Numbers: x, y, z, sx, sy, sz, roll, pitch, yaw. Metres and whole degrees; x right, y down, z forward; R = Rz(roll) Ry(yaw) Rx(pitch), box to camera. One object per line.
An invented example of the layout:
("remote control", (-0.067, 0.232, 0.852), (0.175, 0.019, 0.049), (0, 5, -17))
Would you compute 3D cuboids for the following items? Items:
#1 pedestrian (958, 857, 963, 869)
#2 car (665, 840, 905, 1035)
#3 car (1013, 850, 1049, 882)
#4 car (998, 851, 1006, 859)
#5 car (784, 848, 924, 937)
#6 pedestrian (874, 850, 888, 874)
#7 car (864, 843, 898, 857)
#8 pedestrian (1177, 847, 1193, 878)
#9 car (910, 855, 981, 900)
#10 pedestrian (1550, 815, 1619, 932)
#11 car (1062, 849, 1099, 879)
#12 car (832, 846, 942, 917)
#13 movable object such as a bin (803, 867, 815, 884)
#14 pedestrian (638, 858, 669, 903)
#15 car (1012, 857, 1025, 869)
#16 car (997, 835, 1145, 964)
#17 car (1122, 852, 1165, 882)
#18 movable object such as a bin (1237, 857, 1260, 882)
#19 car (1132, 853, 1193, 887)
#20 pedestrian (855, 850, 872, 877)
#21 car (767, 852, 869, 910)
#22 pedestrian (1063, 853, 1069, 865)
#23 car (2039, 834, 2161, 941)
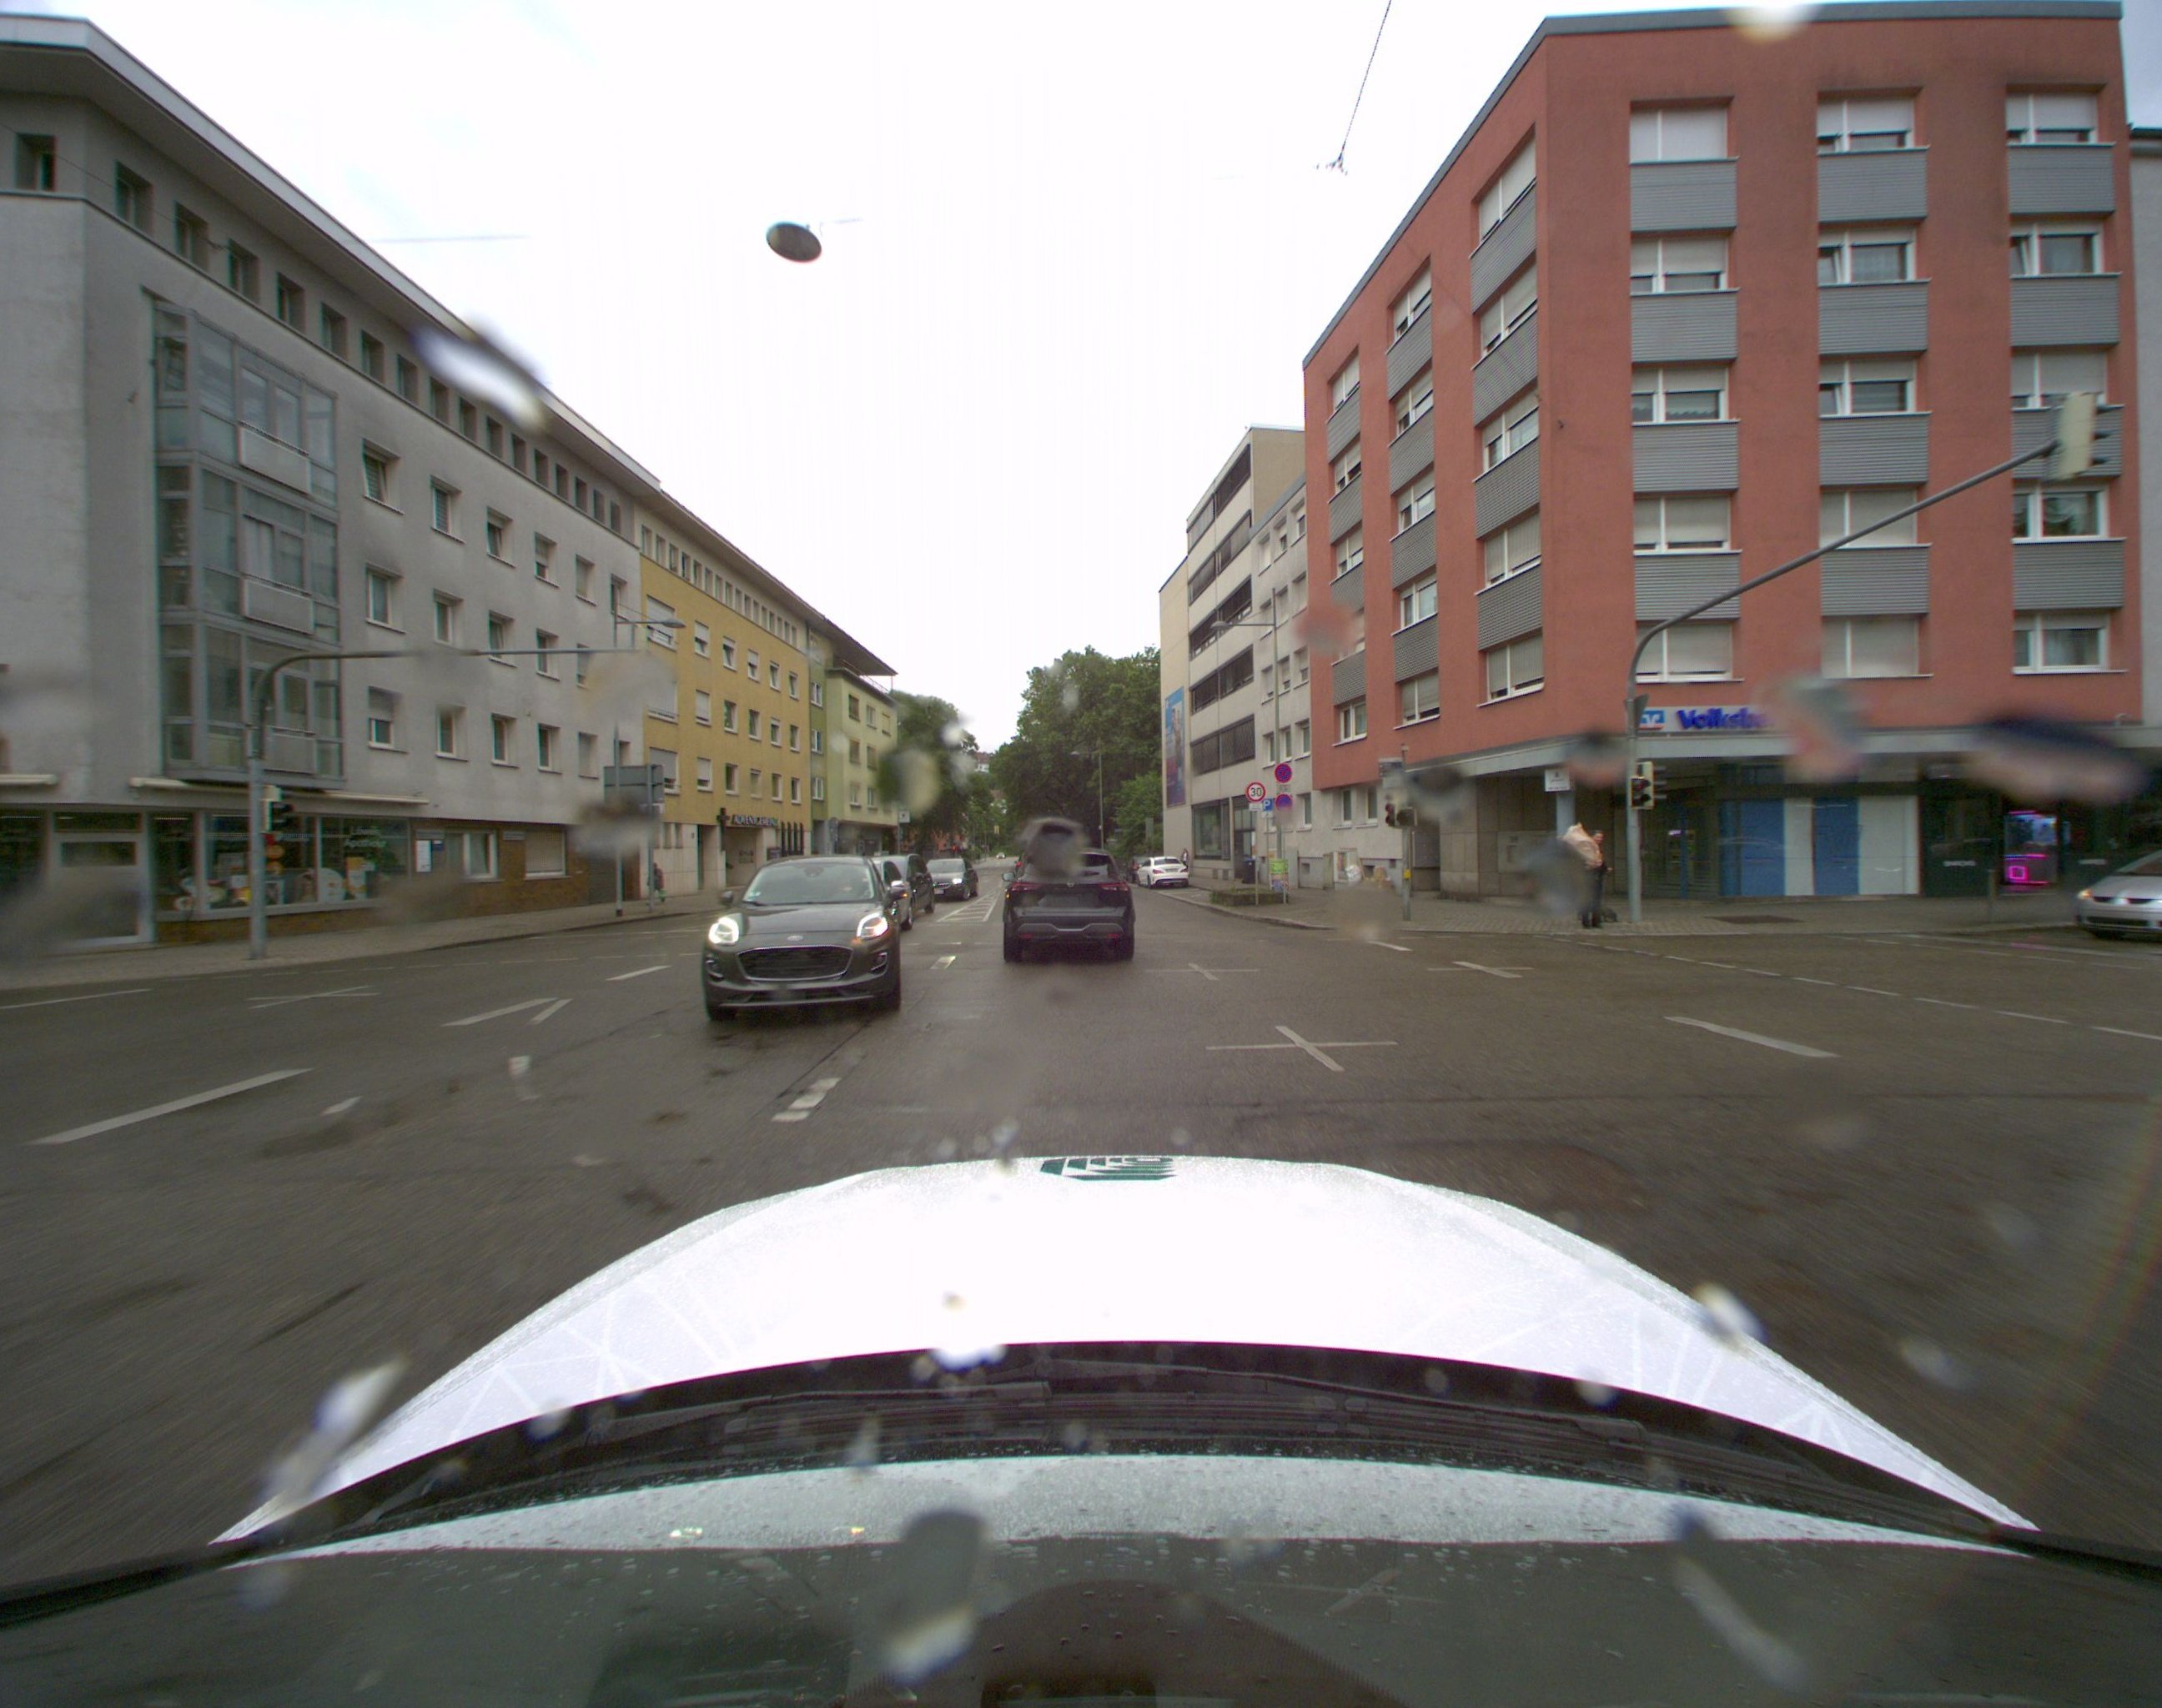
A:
("pedestrian", (-17.551, 1.270, 118.666), (0.667, 1.791, 0.719), (1, 0, -12))
("car", (-2.920, 0.687, 8.958), (1.857, 1.553, 4.209), (-2, 0, -12))
("car", (-2.909, 0.683, 47.354), (1.942, 1.685, 3.995), (-3, -1, -3))
("car", (-18.530, 0.294, 190.980), (1.817, 1.796, 3.861), (1, 0, -3))
("car", (-4.413, 0.728, 16.507), (1.930, 1.527, 4.128), (-1, -1, -4))
("pedestrian", (-14.365, 0.544, 58.458), (0.797, 1.688, 0.816), (-1, 0, -6))
("car", (-25.174, -0.469, 102.557), (3.829, 1.734, 1.875), (1, 0, -7))
("pedestrian", (5.869, 0.484, 46.105), (0.612, 1.737, 0.678), (-3, -1, -12))
("car", (-4.707, 0.812, 28.887), (1.815, 1.433, 4.397), (-1, -1, -1))
("pedestrian", (9.559, 0.357, 15.479), (0.822, 2.158, 0.770), (1, 0, 1))
("car", (-0.081, 0.647, 53.838), (1.943, 1.816, 3.991), (-3, -1, -6))
("car", (-4.908, 0.693, 21.219), (1.815, 1.608, 4.429), (-1, -1, -1))
("movable object such as a bin", (-15.289, 1.196, 45.778), (0.452, 0.929, 0.503), (-1, 0, 2))
("pedestrian", (-15.216, 0.929, 28.994), (0.684, 1.581, 0.652), (1, 0, 2))
("car", (-8.893, 1.253, 116.404), (1.817, 1.612, 3.860), (1, 0, -4))
("car", (-0.279, 0.607, 12.552), (1.891, 1.629, 3.993), (-1, -1, -5))
("car", (3.308, 0.683, 44.005), (1.711, 1.442, 4.076), (-3, 0, -4))
("movable object such as a bin", (7.328, 0.660, 35.654), (0.713, 1.068, 0.781), (-1, 0, -11))
("car", (3.681, 0.716, 37.585), (1.773, 1.401, 4.568), (-3, 0, -7))
("pedestrian", (-14.568, 0.647, 54.591), (0.862, 1.788, 0.875), (2, -1, 1))
("car", (-8.144, 0.824, 25.636), (1.815, 1.640, 4.371), (-1, -1, -1))
("pedestrian", (-2.257, 0.766, 123.054), (0.712, 1.791, 0.673), (1, 0, 44))
("car", (17.043, 0.422, 11.945), (3.932, 1.486, 1.703), (-1, -1, 1))
